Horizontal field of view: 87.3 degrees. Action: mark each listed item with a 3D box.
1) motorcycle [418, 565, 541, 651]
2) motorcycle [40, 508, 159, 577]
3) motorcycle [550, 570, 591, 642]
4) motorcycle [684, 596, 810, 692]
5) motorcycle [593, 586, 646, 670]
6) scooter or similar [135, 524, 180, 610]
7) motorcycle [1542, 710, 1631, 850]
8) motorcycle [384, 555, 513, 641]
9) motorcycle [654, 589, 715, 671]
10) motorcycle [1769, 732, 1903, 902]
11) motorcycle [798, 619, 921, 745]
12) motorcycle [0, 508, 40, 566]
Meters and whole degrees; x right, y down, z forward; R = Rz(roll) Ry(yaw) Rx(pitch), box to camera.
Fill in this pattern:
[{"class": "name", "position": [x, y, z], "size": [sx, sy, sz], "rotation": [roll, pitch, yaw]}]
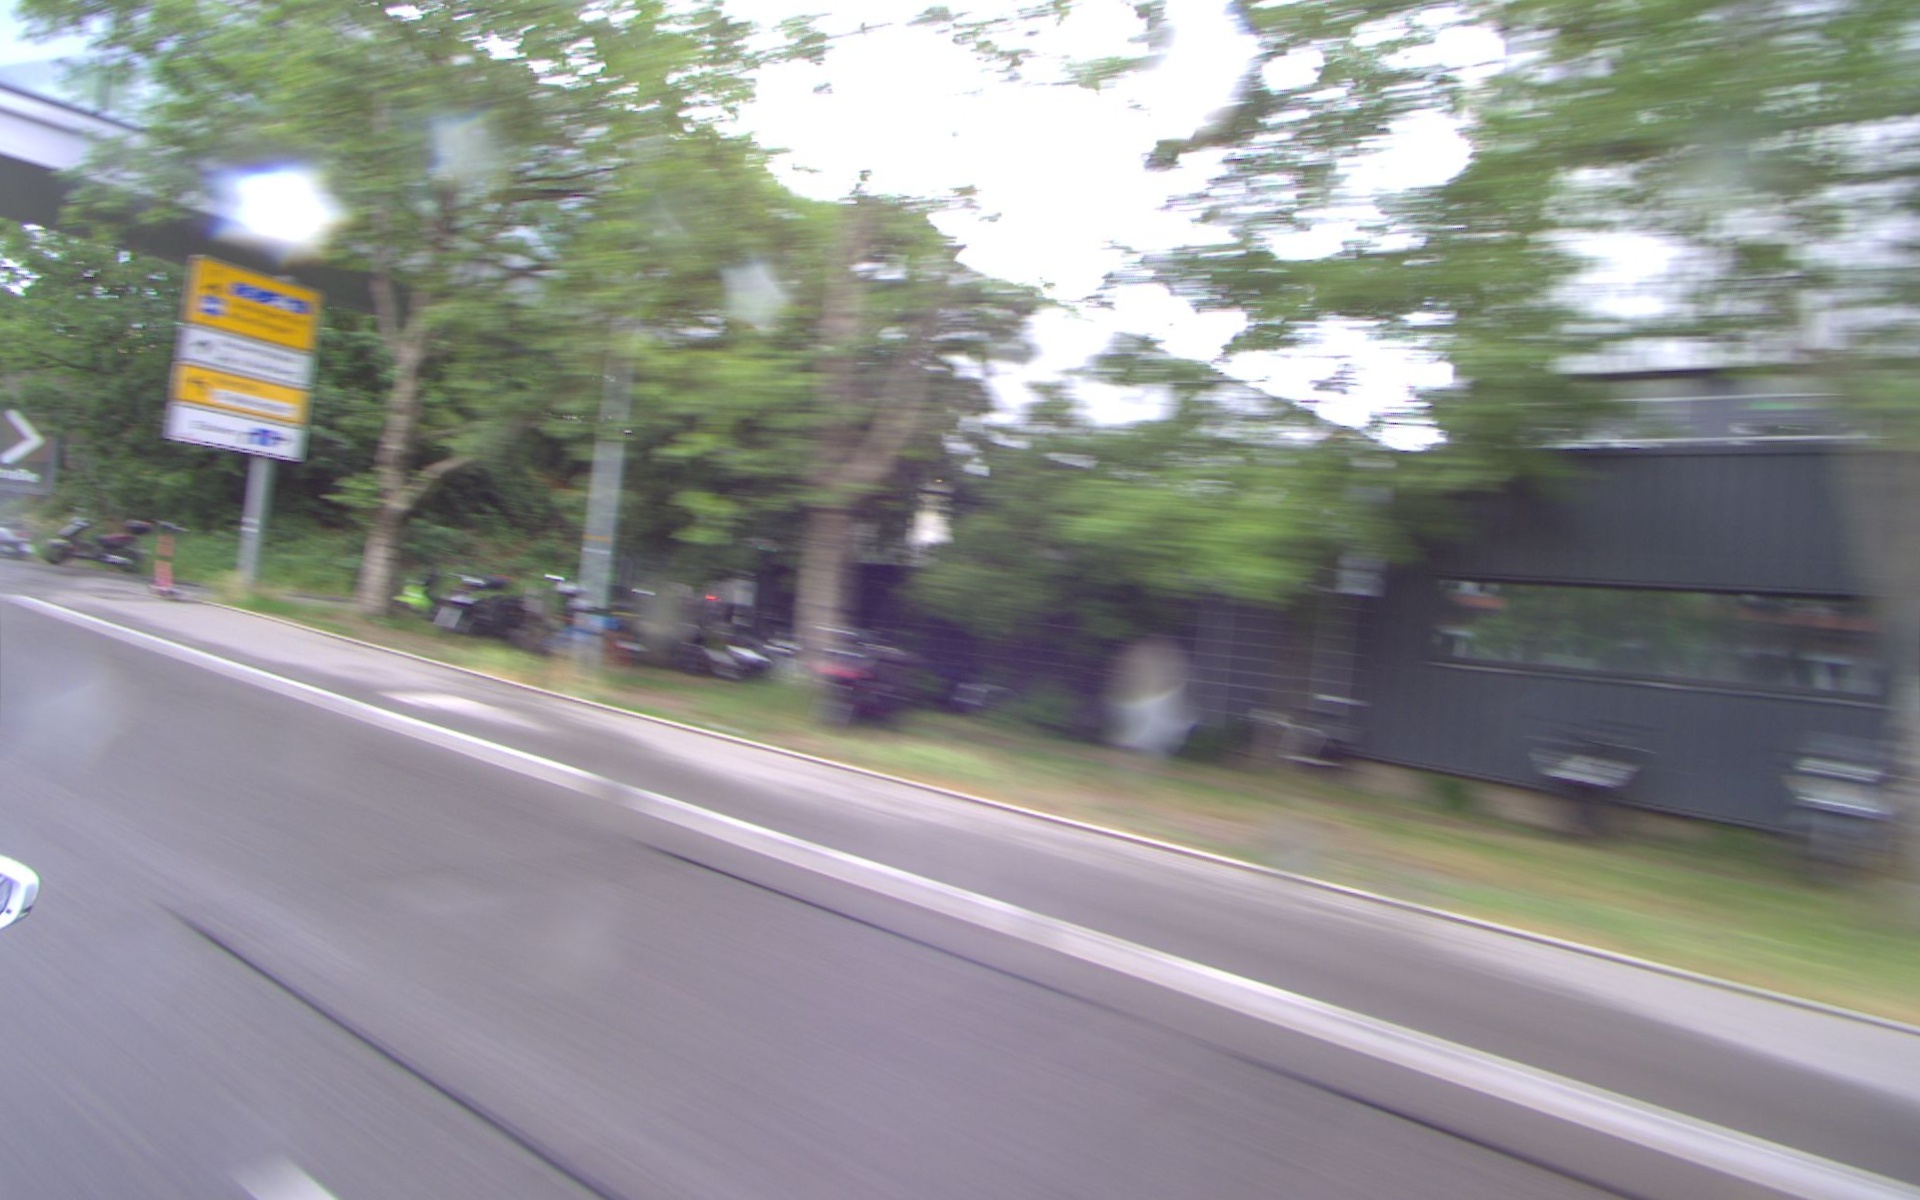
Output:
[{"class": "motorcycle", "position": [-7.927, 0.169, 16.708], "size": [0.618, 1.268, 1.855], "rotation": [7, -1, 18]}, {"class": "motorcycle", "position": [-19.998, -1.313, 23.409], "size": [1.919, 1.313, 0.544], "rotation": [8, 0, -23]}, {"class": "motorcycle", "position": [-7.810, 0.092, 20.126], "size": [0.345, 1.294, 2.056], "rotation": [7, -1, -29]}, {"class": "motorcycle", "position": [-3.441, 0.702, 16.176], "size": [1.958, 1.294, 0.646], "rotation": [6, -1, 33]}, {"class": "motorcycle", "position": [-5.976, 0.457, 17.598], "size": [0.515, 1.294, 1.842], "rotation": [7, -1, -26]}, {"class": "scooter or similar", "position": [-13.075, -0.549, 16.386], "size": [1.291, 1.314, 0.310], "rotation": [6, -1, 45]}, {"class": "motorcycle", "position": [6.588, 1.870, 10.537], "size": [0.484, 1.271, 1.916], "rotation": [6, -4, 38]}, {"class": "motorcycle", "position": [-9.110, -0.029, 17.951], "size": [1.821, 1.268, 0.630], "rotation": [8, 0, -2]}, {"class": "motorcycle", "position": [-4.964, 0.494, 18.037], "size": [0.515, 1.294, 2.267], "rotation": [7, -1, -26]}, {"class": "motorcycle", "position": [8.153, 1.969, 9.425], "size": [0.497, 1.379, 1.504], "rotation": [6, -3, 28]}, {"class": "motorcycle", "position": [-1.057, 0.881, 11.057], "size": [0.512, 1.205, 1.855], "rotation": [7, -1, 18]}, {"class": "motorcycle", "position": [-22.238, -1.524, 23.188], "size": [1.907, 1.228, 0.471], "rotation": [7, 0, 14]}]
